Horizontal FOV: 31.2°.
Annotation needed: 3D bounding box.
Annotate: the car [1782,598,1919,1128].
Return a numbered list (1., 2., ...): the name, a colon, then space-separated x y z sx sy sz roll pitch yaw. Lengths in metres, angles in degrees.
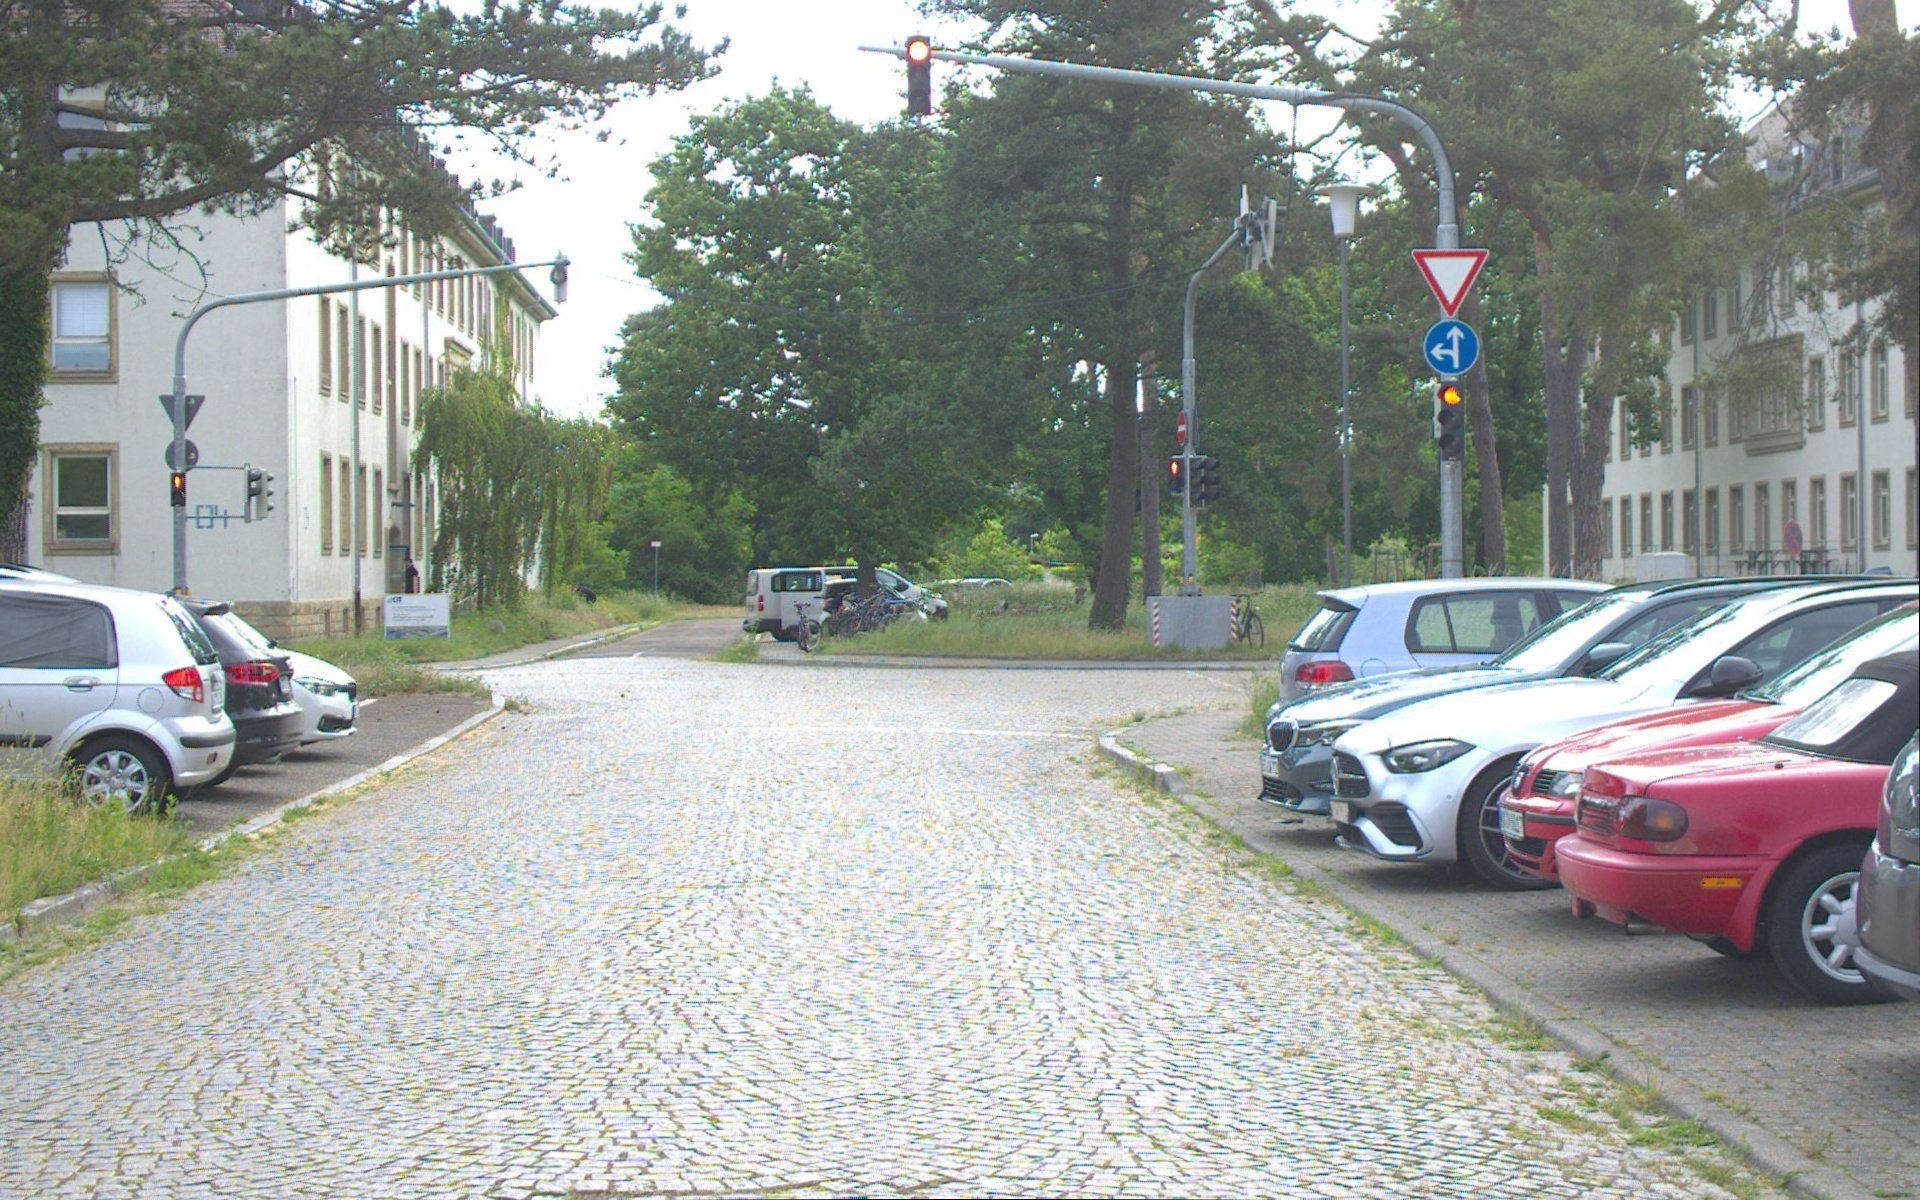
1. car: 4.442 0.716 10.229 3.505 1.482 1.743 -1 1 -3

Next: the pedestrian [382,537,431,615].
1. pedestrian: -13.972 -0.609 86.842 1.074 1.952 1.121 1 0 -2

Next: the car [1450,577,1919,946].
1. car: 4.387 0.643 15.199 4.104 1.471 1.685 -1 1 -4

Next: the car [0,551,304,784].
1. car: -7.385 0.527 26.901 4.297 1.726 1.653 -1 1 -8

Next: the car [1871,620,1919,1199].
1. car: 4.272 0.738 7.353 4.130 1.442 1.766 -1 1 -2

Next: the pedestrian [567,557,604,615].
1. pedestrian: -12.940 -0.477 118.758 1.239 1.952 1.121 1 0 -8

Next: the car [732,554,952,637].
1. car: -3.098 -0.128 89.571 5.374 2.094 2.179 0 0 -14

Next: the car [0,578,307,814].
1. car: -6.819 0.668 24.116 4.297 1.548 1.812 -1 1 -8

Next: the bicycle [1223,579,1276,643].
1. bicycle: 5.024 0.184 59.792 0.663 1.047 1.888 1 1 -2

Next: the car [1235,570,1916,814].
1. car: 4.043 0.572 22.875 4.134 1.458 1.634 -1 1 -8

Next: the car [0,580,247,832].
1. car: -6.470 0.605 21.531 3.720 1.476 1.673 2 0 -5

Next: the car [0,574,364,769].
1. car: -7.309 0.598 29.360 4.297 1.548 1.812 -1 1 -8

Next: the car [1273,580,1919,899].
1. car: 3.866 0.651 17.543 4.184 1.432 1.756 -1 1 -9

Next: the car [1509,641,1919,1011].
1. car: 3.995 0.778 12.840 3.586 1.218 1.628 -1 1 -1

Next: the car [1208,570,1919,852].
1. car: 3.757 0.603 20.308 4.227 1.474 1.710 -1 1 -13

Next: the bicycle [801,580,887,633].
1. bicycle: -2.645 0.157 78.273 1.881 1.167 0.665 1 0 -8

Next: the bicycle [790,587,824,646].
1. bicycle: -3.122 0.327 70.117 0.663 1.167 1.888 1 0 -2
